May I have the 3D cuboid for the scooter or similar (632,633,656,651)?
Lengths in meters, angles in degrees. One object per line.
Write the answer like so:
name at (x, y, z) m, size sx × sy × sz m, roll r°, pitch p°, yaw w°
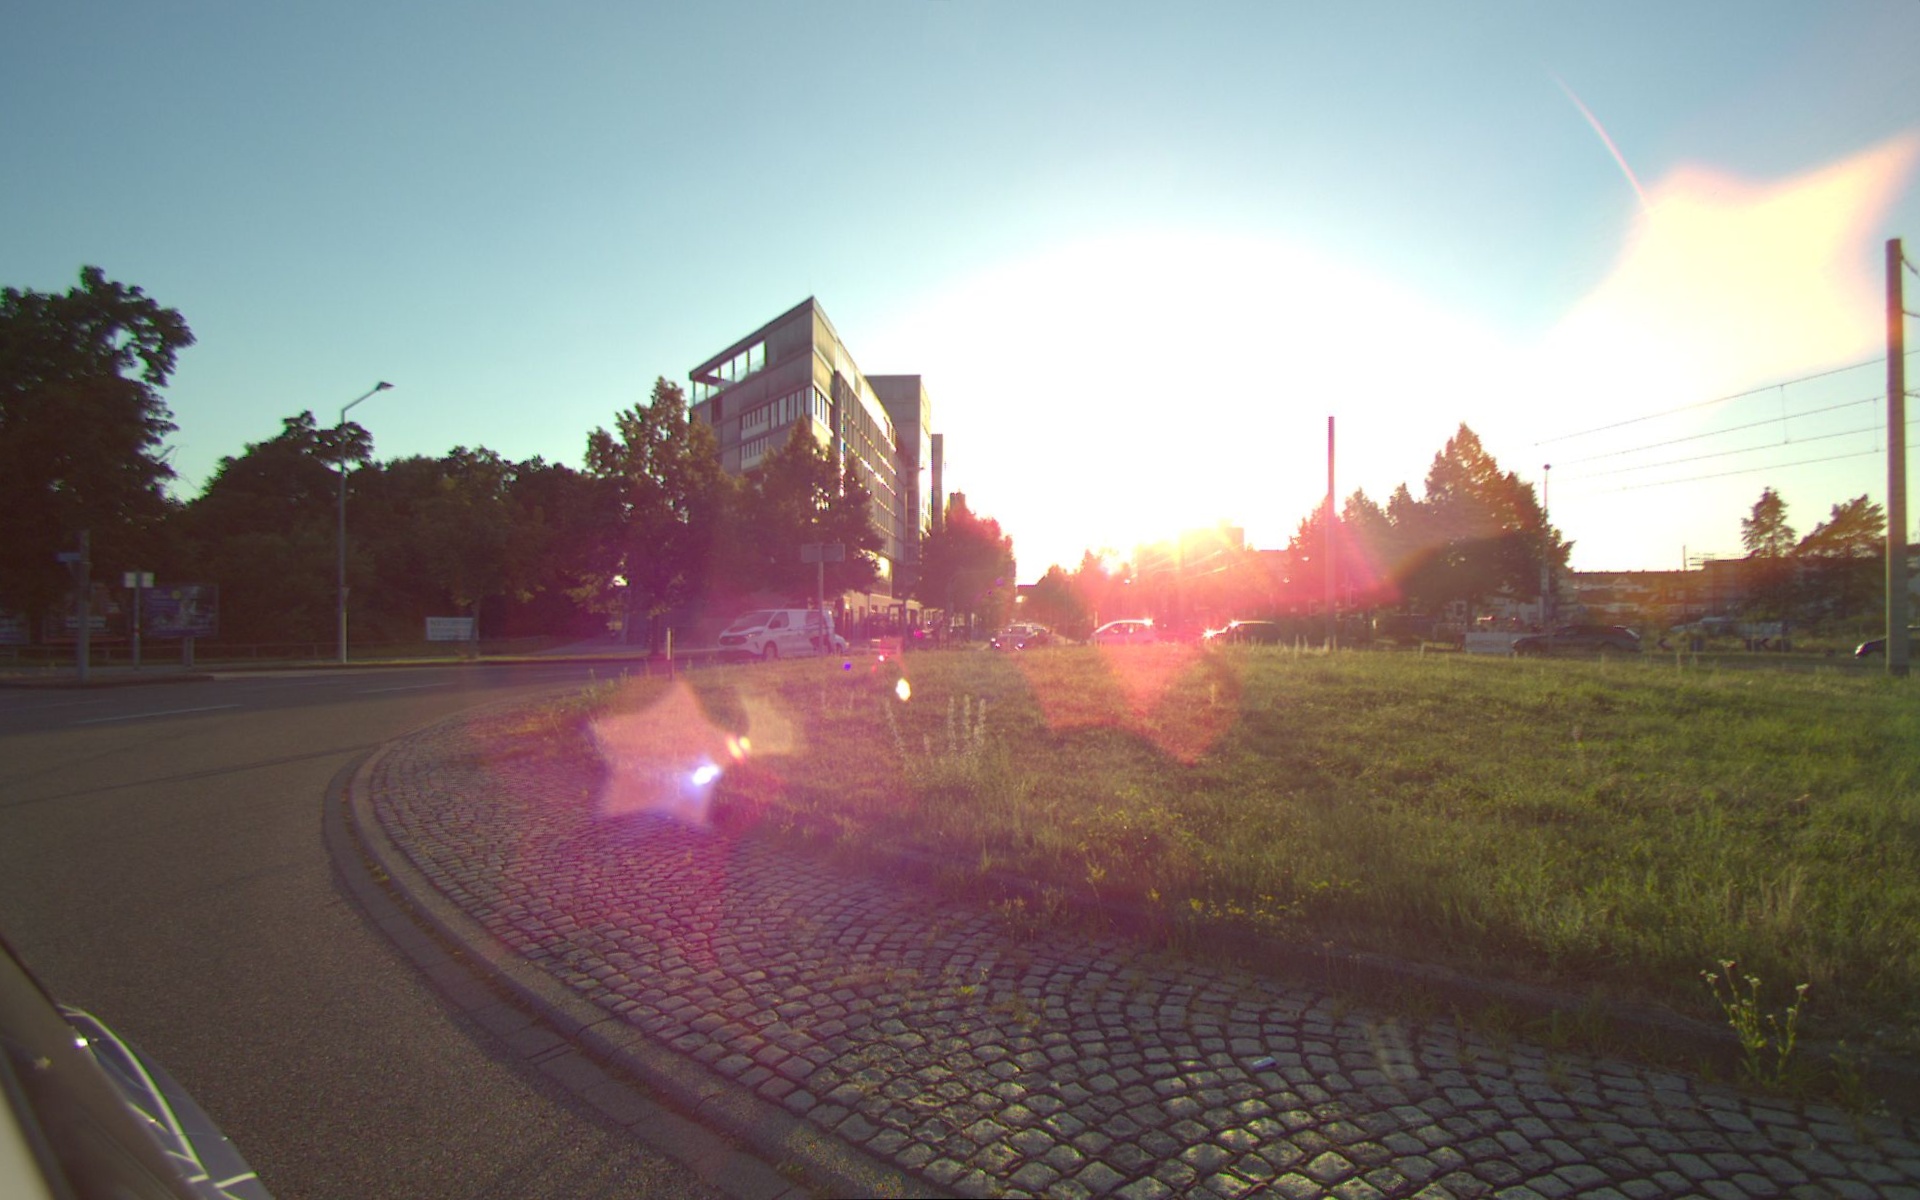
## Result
scooter or similar at (-21.309, 2.850, 68.299) m, size 1.562 × 1.229 × 0.365 m, roll -1°, pitch -2°, yaw 14°

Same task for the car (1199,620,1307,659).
car at (13.844, 1.853, 47.900) m, size 4.528 × 1.761 × 1.753 m, roll 0°, pitch -2°, yaw -4°

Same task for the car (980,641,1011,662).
car at (2.618, 3.709, 73.434) m, size 1.726 × 1.450 × 3.987 m, roll -1°, pitch -1°, yaw 10°

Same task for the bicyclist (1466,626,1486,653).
bicyclist at (31.944, 2.468, 62.645) m, size 0.805 × 1.653 × 0.813 m, roll -1°, pitch -2°, yaw 7°

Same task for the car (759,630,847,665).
car at (-6.998, 2.094, 45.594) m, size 1.735 × 1.441 × 4.521 m, roll -1°, pitch -1°, yaw 25°

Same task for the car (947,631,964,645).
car at (-0.522, 4.328, 115.482) m, size 1.779 × 1.475 × 3.996 m, roll 0°, pitch -2°, yaw 3°

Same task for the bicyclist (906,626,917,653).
bicyclist at (-3.037, 2.481, 63.228) m, size 0.674 × 1.660 × 0.685 m, roll 0°, pitch -2°, yaw -6°

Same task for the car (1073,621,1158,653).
car at (7.279, 1.730, 47.527) m, size 3.655 × 1.476 × 1.608 m, roll 0°, pitch -2°, yaw -4°

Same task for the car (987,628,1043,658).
car at (3.112, 2.368, 56.522) m, size 1.736 × 1.548 × 3.964 m, roll -1°, pitch -1°, yaw 26°

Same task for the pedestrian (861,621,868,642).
pedestrian at (-8.996, 2.962, 95.459) m, size 0.532 × 2.029 × 0.527 m, roll -1°, pitch -2°, yaw 3°

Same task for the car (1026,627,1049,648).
car at (6.349, 3.007, 82.603) m, size 1.756 × 1.633 × 3.991 m, roll 0°, pitch -1°, yaw 7°

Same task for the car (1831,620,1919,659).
car at (36.118, 1.510, 38.530) m, size 1.722 × 1.457 × 4.146 m, roll 1°, pitch -2°, yaw -33°

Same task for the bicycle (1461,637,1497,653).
bicycle at (32.108, 2.766, 62.620) m, size 1.821 × 0.988 × 0.548 m, roll -1°, pitch -2°, yaw 7°

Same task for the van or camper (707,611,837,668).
van or camper at (-6.856, 1.411, 37.627) m, size 1.990 × 1.972 × 5.280 m, roll -1°, pitch -1°, yaw 27°

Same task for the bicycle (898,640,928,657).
bicycle at (-2.911, 3.039, 63.048) m, size 1.834 × 1.030 × 0.308 m, roll 0°, pitch -2°, yaw -6°

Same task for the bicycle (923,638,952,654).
bicycle at (-1.451, 2.939, 64.935) m, size 1.843 × 1.030 × 0.436 m, roll -1°, pitch -2°, yaw 11°

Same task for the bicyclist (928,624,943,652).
bicyclist at (-1.570, 2.421, 64.376) m, size 0.840 × 1.769 × 0.801 m, roll -1°, pitch -2°, yaw 10°

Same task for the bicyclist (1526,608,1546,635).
bicyclist at (34.411, 1.289, 60.483) m, size 0.684 × 1.646 × 0.800 m, roll 1°, pitch -3°, yaw -37°

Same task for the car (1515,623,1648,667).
car at (26.109, 1.891, 42.627) m, size 4.591 × 1.761 × 1.729 m, roll -2°, pitch -2°, yaw 38°

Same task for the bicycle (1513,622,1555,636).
bicycle at (34.411, 1.746, 60.691) m, size 0.504 × 0.852 × 2.140 m, roll 1°, pitch -3°, yaw -37°
